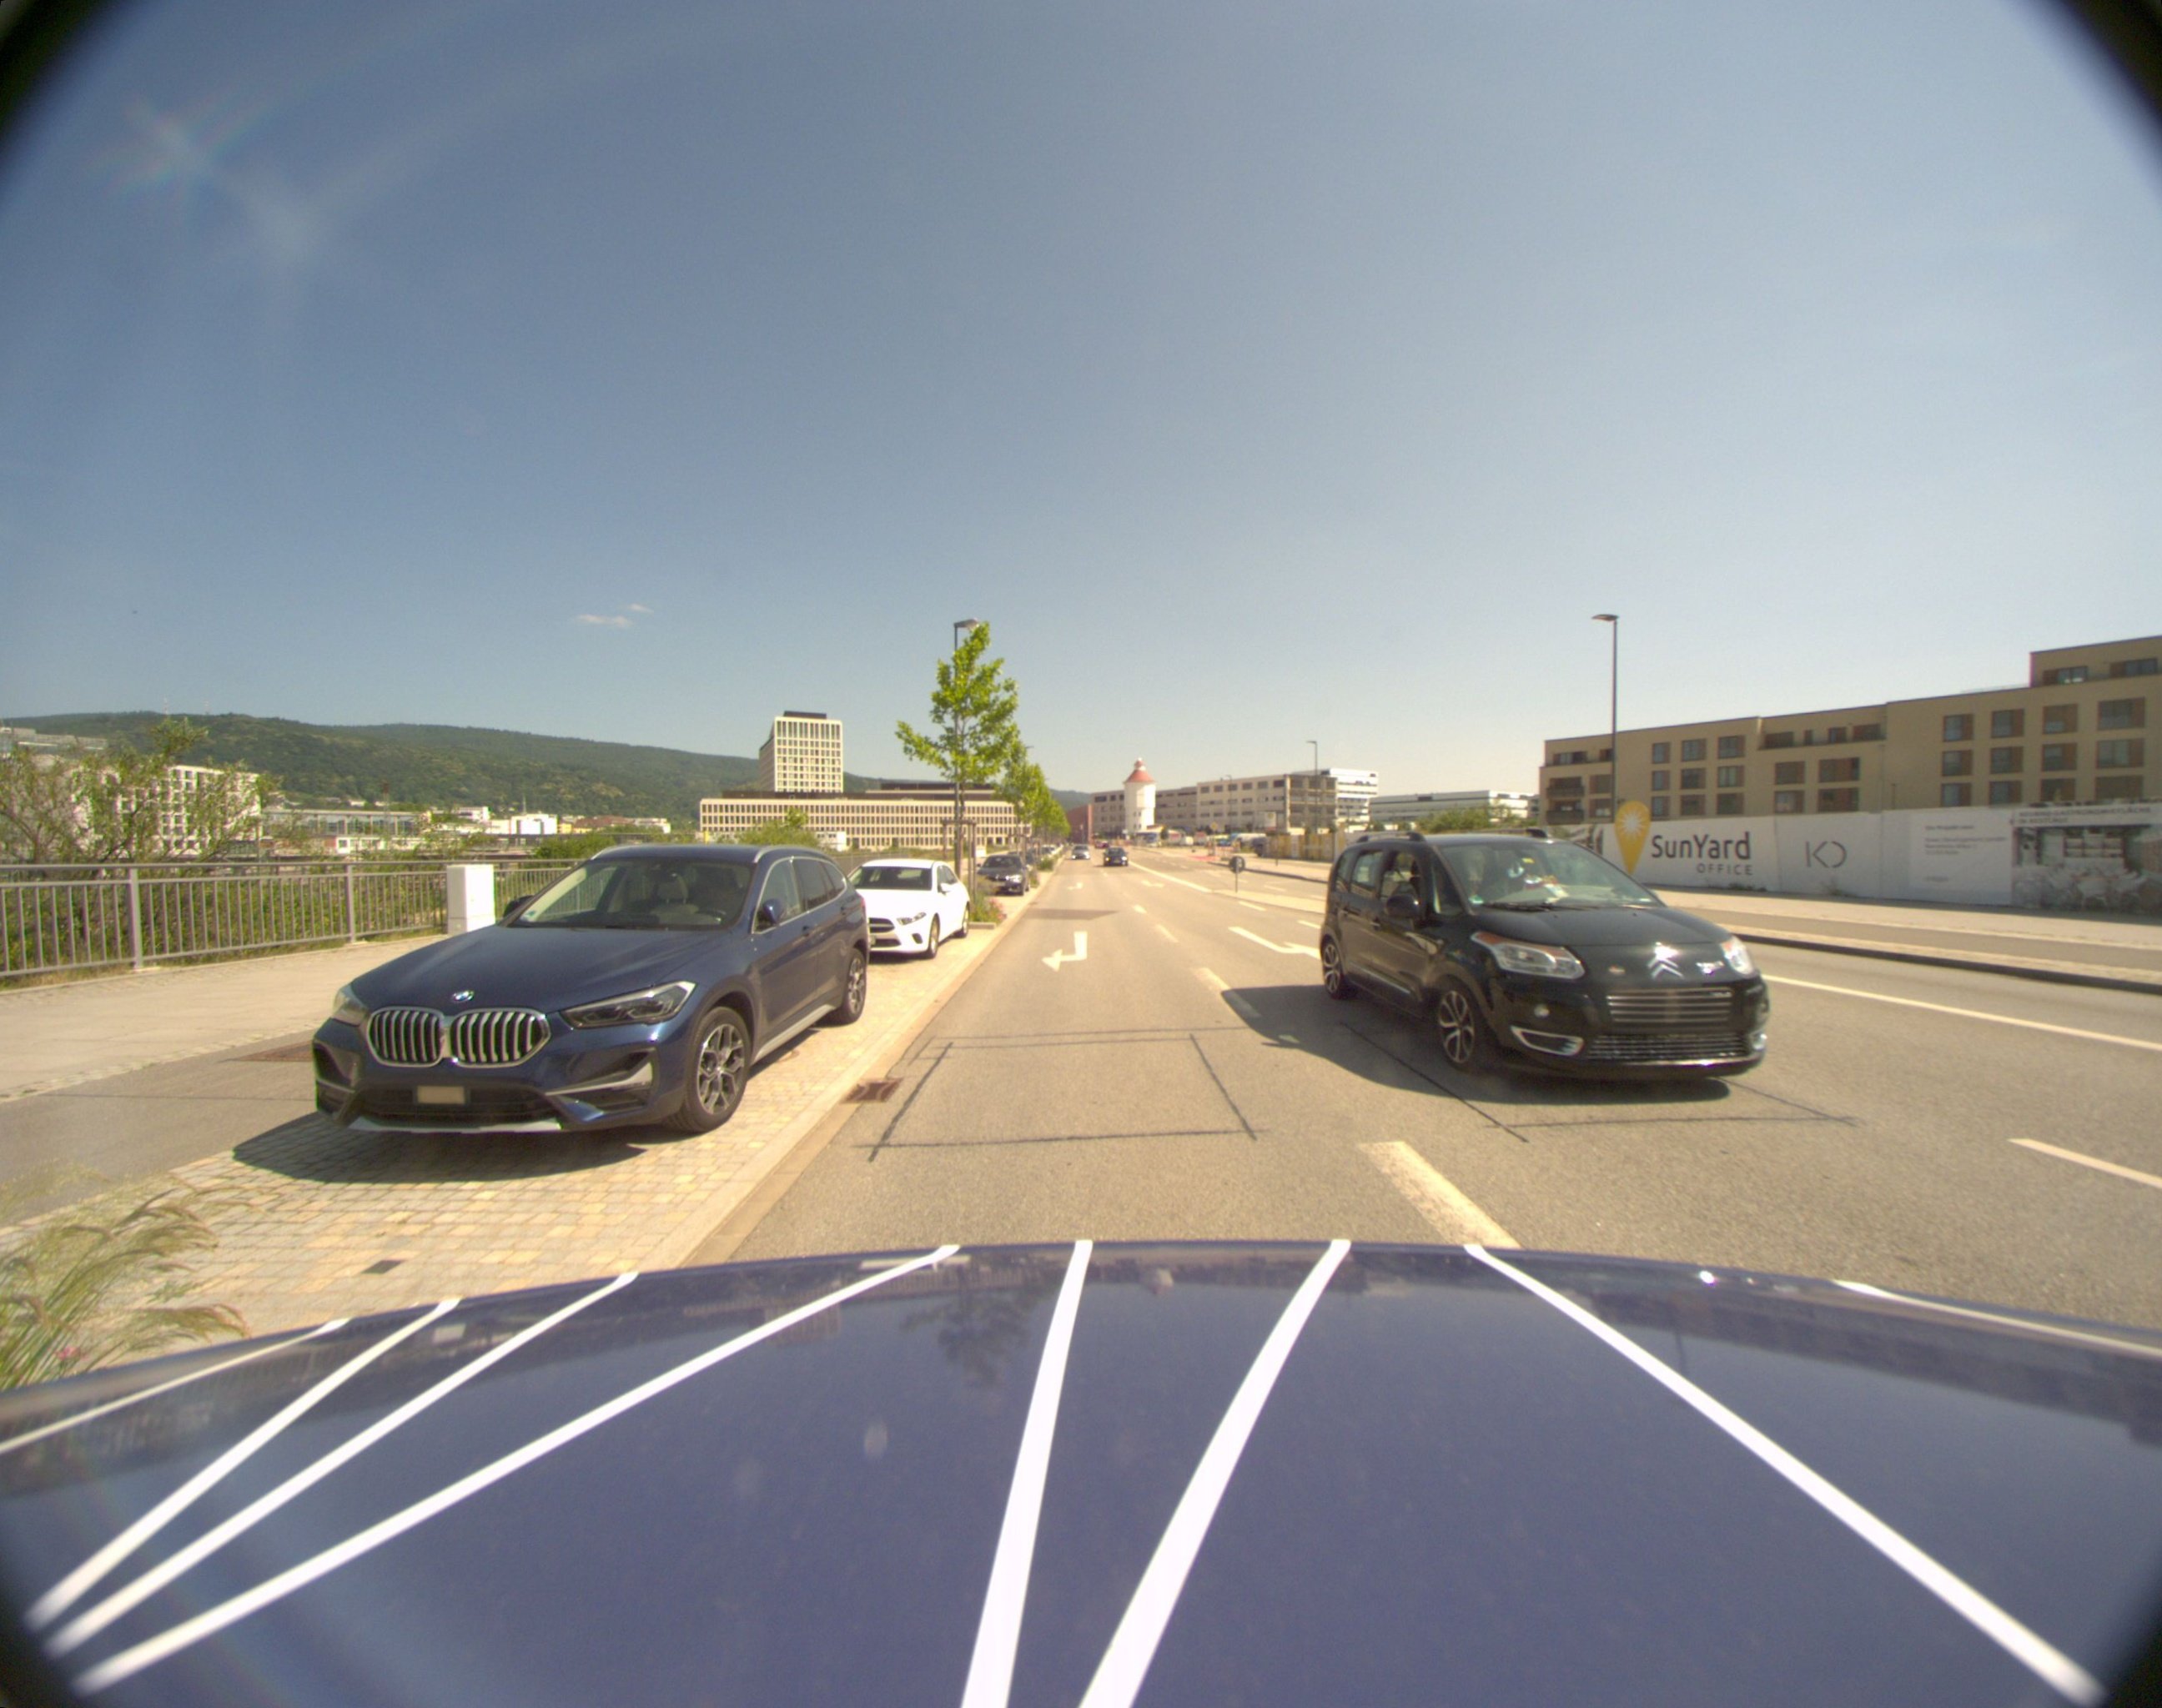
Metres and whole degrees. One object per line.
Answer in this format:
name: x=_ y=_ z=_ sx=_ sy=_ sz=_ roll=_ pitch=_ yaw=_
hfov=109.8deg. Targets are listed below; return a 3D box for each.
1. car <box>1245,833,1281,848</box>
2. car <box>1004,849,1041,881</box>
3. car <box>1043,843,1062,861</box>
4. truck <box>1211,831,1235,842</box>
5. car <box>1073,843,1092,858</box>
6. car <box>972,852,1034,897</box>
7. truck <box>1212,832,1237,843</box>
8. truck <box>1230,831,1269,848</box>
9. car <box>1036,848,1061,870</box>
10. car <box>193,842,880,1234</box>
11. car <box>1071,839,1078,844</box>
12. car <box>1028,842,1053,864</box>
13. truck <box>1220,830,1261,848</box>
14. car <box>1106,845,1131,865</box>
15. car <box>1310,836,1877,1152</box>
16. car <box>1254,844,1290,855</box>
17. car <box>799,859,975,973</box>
car: x=23.087 y=-1.674 z=96.364 sx=3.930 sy=1.708 sz=1.891 roll=-3 pitch=1 yaw=-5
car: x=-2.921 y=0.540 z=38.388 sx=1.569 sy=1.465 sz=3.006 roll=2 pitch=1 yaw=0
car: x=-2.628 y=-0.190 z=70.111 sx=1.526 sy=1.482 sz=3.504 roll=-3 pitch=1 yaw=0
truck: x=34.653 y=-4.221 z=185.206 sx=5.412 sy=2.461 sz=1.999 roll=-2 pitch=1 yaw=-2
car: x=0.170 y=-0.391 z=77.038 sx=1.820 sy=1.458 sz=4.346 roll=-2 pitch=1 yaw=1
car: x=-2.785 y=0.694 z=27.756 sx=1.808 sy=1.424 sz=3.916 roll=2 pitch=1 yaw=0
truck: x=33.423 y=-3.826 z=177.317 sx=5.333 sy=2.461 sz=1.999 roll=-2 pitch=1 yaw=-4
truck: x=23.435 y=-2.040 z=105.822 sx=5.005 sy=2.215 sz=1.999 roll=-2 pitch=1 yaw=-1
car: x=-2.155 y=0.323 z=50.519 sx=1.490 sy=1.302 sz=3.154 roll=2 pitch=1 yaw=0
car: x=-2.917 y=0.770 z=5.425 sx=1.808 sy=1.674 sz=4.270 roll=1 pitch=1 yaw=0
car: x=-2.066 y=-4.035 z=244.778 sx=1.819 sy=1.458 sz=4.347 roll=-3 pitch=0 yaw=2
car: x=-3.222 y=-0.085 z=61.001 sx=1.768 sy=1.609 sz=3.374 roll=-3 pitch=1 yaw=0
truck: x=23.737 y=-2.226 z=113.189 sx=5.633 sy=2.461 sz=1.999 roll=-2 pitch=1 yaw=-4
car: x=2.818 y=0.075 z=57.523 sx=1.709 sy=1.404 sz=3.999 roll=0 pitch=1 yaw=1
car: x=3.311 y=0.711 z=5.980 sx=1.808 sy=1.613 sz=3.916 roll=-2 pitch=1 yaw=0
car: x=19.597 y=-0.503 z=77.924 sx=3.359 sy=0.947 sz=1.293 roll=-2 pitch=1 yaw=3
car: x=-2.903 y=0.844 z=12.352 sx=1.711 sy=1.366 sz=4.270 roll=2 pitch=1 yaw=0
